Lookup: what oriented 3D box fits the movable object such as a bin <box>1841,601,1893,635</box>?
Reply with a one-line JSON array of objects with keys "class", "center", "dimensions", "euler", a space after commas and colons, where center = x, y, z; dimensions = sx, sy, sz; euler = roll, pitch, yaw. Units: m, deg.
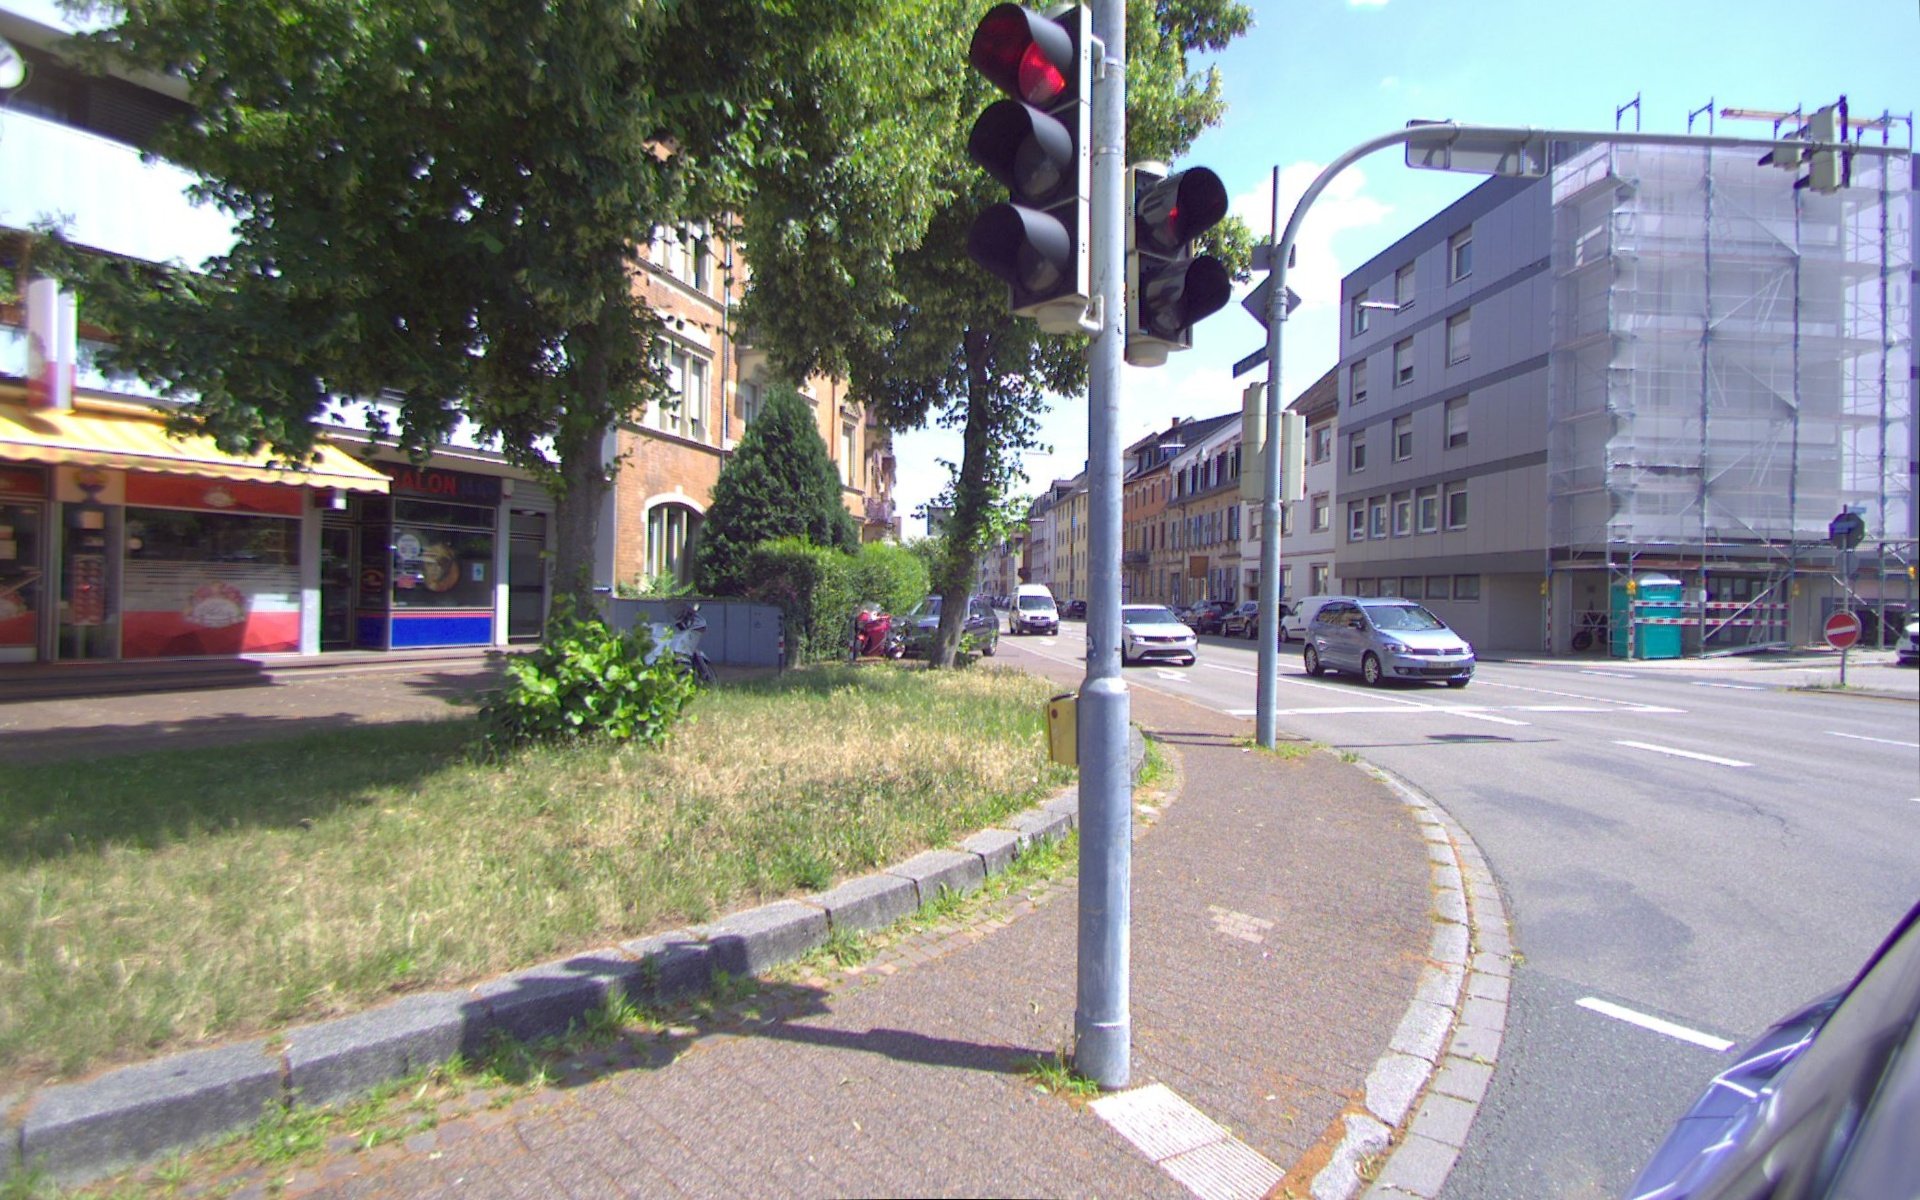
[{"class": "movable object such as a bin", "center": [25.807, 0.500, 28.802], "dimensions": [0.726, 0.938, 0.827], "euler": [-1, 0, -3]}]

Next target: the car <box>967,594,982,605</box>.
[{"class": "car", "center": [1.968, -0.039, 138.519], "dimensions": [1.673, 1.496, 4.136], "euler": [1, 0, -4]}]

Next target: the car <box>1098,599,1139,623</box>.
[{"class": "car", "center": [11.068, 0.728, 70.997], "dimensions": [1.834, 1.444, 4.335], "euler": [4, 0, -5]}]

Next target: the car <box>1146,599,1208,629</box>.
[{"class": "car", "center": [12.105, 0.756, 56.793], "dimensions": [1.833, 1.424, 4.844], "euler": [4, 0, -7]}]

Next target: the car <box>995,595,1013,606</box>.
[{"class": "car", "center": [5.947, 0.072, 138.377], "dimensions": [1.715, 1.428, 4.110], "euler": [4, 0, -7]}]

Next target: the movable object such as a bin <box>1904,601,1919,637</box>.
[{"class": "movable object such as a bin", "center": [25.833, 0.504, 26.951], "dimensions": [0.726, 0.938, 0.704], "euler": [-1, 0, -3]}]

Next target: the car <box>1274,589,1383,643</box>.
[{"class": "car", "center": [13.639, 0.546, 37.815], "dimensions": [1.881, 1.848, 4.794], "euler": [2, 0, -6]}]

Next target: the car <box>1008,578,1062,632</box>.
[{"class": "car", "center": [3.331, 0.187, 45.735], "dimensions": [1.869, 2.303, 5.673], "euler": [0, 0, -1]}]

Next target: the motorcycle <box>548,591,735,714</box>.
[{"class": "motorcycle", "center": [-3.752, 0.568, 12.165], "dimensions": [0.909, 1.329, 2.206], "euler": [-1, 0, 25]}]

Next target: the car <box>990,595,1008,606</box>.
[{"class": "car", "center": [5.517, 0.046, 143.867], "dimensions": [1.715, 1.428, 4.110], "euler": [4, 0, -7]}]

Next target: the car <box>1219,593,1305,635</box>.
[{"class": "car", "center": [12.963, 0.545, 43.752], "dimensions": [1.853, 1.662, 4.668], "euler": [2, 0, -6]}]

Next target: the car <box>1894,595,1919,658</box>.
[{"class": "car", "center": [24.211, 0.592, 23.468], "dimensions": [3.663, 1.465, 1.760], "euler": [-1, 0, -7]}]

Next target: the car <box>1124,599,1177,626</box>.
[{"class": "car", "center": [11.708, 0.755, 62.445], "dimensions": [1.833, 1.424, 4.337], "euler": [4, 0, -7]}]

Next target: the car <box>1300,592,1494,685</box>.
[{"class": "car", "center": [8.102, 0.642, 19.185], "dimensions": [1.725, 1.588, 4.003], "euler": [0, 0, -4]}]

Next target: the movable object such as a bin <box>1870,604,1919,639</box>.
[{"class": "movable object such as a bin", "center": [25.764, 0.577, 27.803], "dimensions": [0.726, 0.938, 0.827], "euler": [-1, 0, -3]}]

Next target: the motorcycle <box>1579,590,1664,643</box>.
[{"class": "motorcycle", "center": [19.284, 0.462, 29.533], "dimensions": [2.029, 1.490, 0.871], "euler": [0, 0, 34]}]

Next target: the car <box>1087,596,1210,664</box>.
[{"class": "car", "center": [4.606, 0.677, 25.410], "dimensions": [1.868, 1.516, 4.492], "euler": [0, 0, -5]}]

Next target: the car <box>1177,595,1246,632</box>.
[{"class": "car", "center": [12.346, 0.634, 50.016], "dimensions": [1.854, 1.662, 4.821], "euler": [2, 0, -4]}]

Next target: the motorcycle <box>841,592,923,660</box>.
[{"class": "motorcycle", "center": [-1.594, 0.527, 21.128], "dimensions": [0.920, 1.319, 2.267], "euler": [1, -1, 17]}]

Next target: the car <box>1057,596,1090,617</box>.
[{"class": "car", "center": [9.787, 0.532, 87.567], "dimensions": [1.833, 1.571, 4.505], "euler": [4, 0, -5]}]

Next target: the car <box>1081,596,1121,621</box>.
[{"class": "car", "center": [10.553, 0.636, 76.007], "dimensions": [1.833, 1.648, 4.505], "euler": [4, 0, -5]}]

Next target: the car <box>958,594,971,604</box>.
[{"class": "car", "center": [0.707, -0.228, 162.316], "dimensions": [1.730, 1.513, 4.250], "euler": [1, 0, -5]}]

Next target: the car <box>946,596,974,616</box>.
[{"class": "car", "center": [-0.063, 0.430, 79.834], "dimensions": [1.727, 1.497, 3.788], "euler": [-1, 1, -7]}]

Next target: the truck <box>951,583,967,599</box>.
[{"class": "truck", "center": [-0.222, -1.643, 188.183], "dimensions": [2.278, 2.775, 8.077], "euler": [1, 0, -5]}]

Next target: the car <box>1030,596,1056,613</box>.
[{"class": "car", "center": [8.430, 0.407, 103.219], "dimensions": [1.834, 1.571, 4.317], "euler": [4, 0, -4]}]

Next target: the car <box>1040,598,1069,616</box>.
[{"class": "car", "center": [8.977, 0.639, 96.637], "dimensions": [1.873, 1.470, 4.690], "euler": [4, 0, -4]}]

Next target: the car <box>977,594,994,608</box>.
[{"class": "car", "center": [3.188, 0.125, 127.502], "dimensions": [1.673, 1.594, 4.315], "euler": [1, 0, -4]}]

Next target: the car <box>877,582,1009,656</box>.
[{"class": "car", "center": [-0.276, 0.463, 24.800], "dimensions": [1.814, 1.568, 5.129], "euler": [1, -1, 16]}]
